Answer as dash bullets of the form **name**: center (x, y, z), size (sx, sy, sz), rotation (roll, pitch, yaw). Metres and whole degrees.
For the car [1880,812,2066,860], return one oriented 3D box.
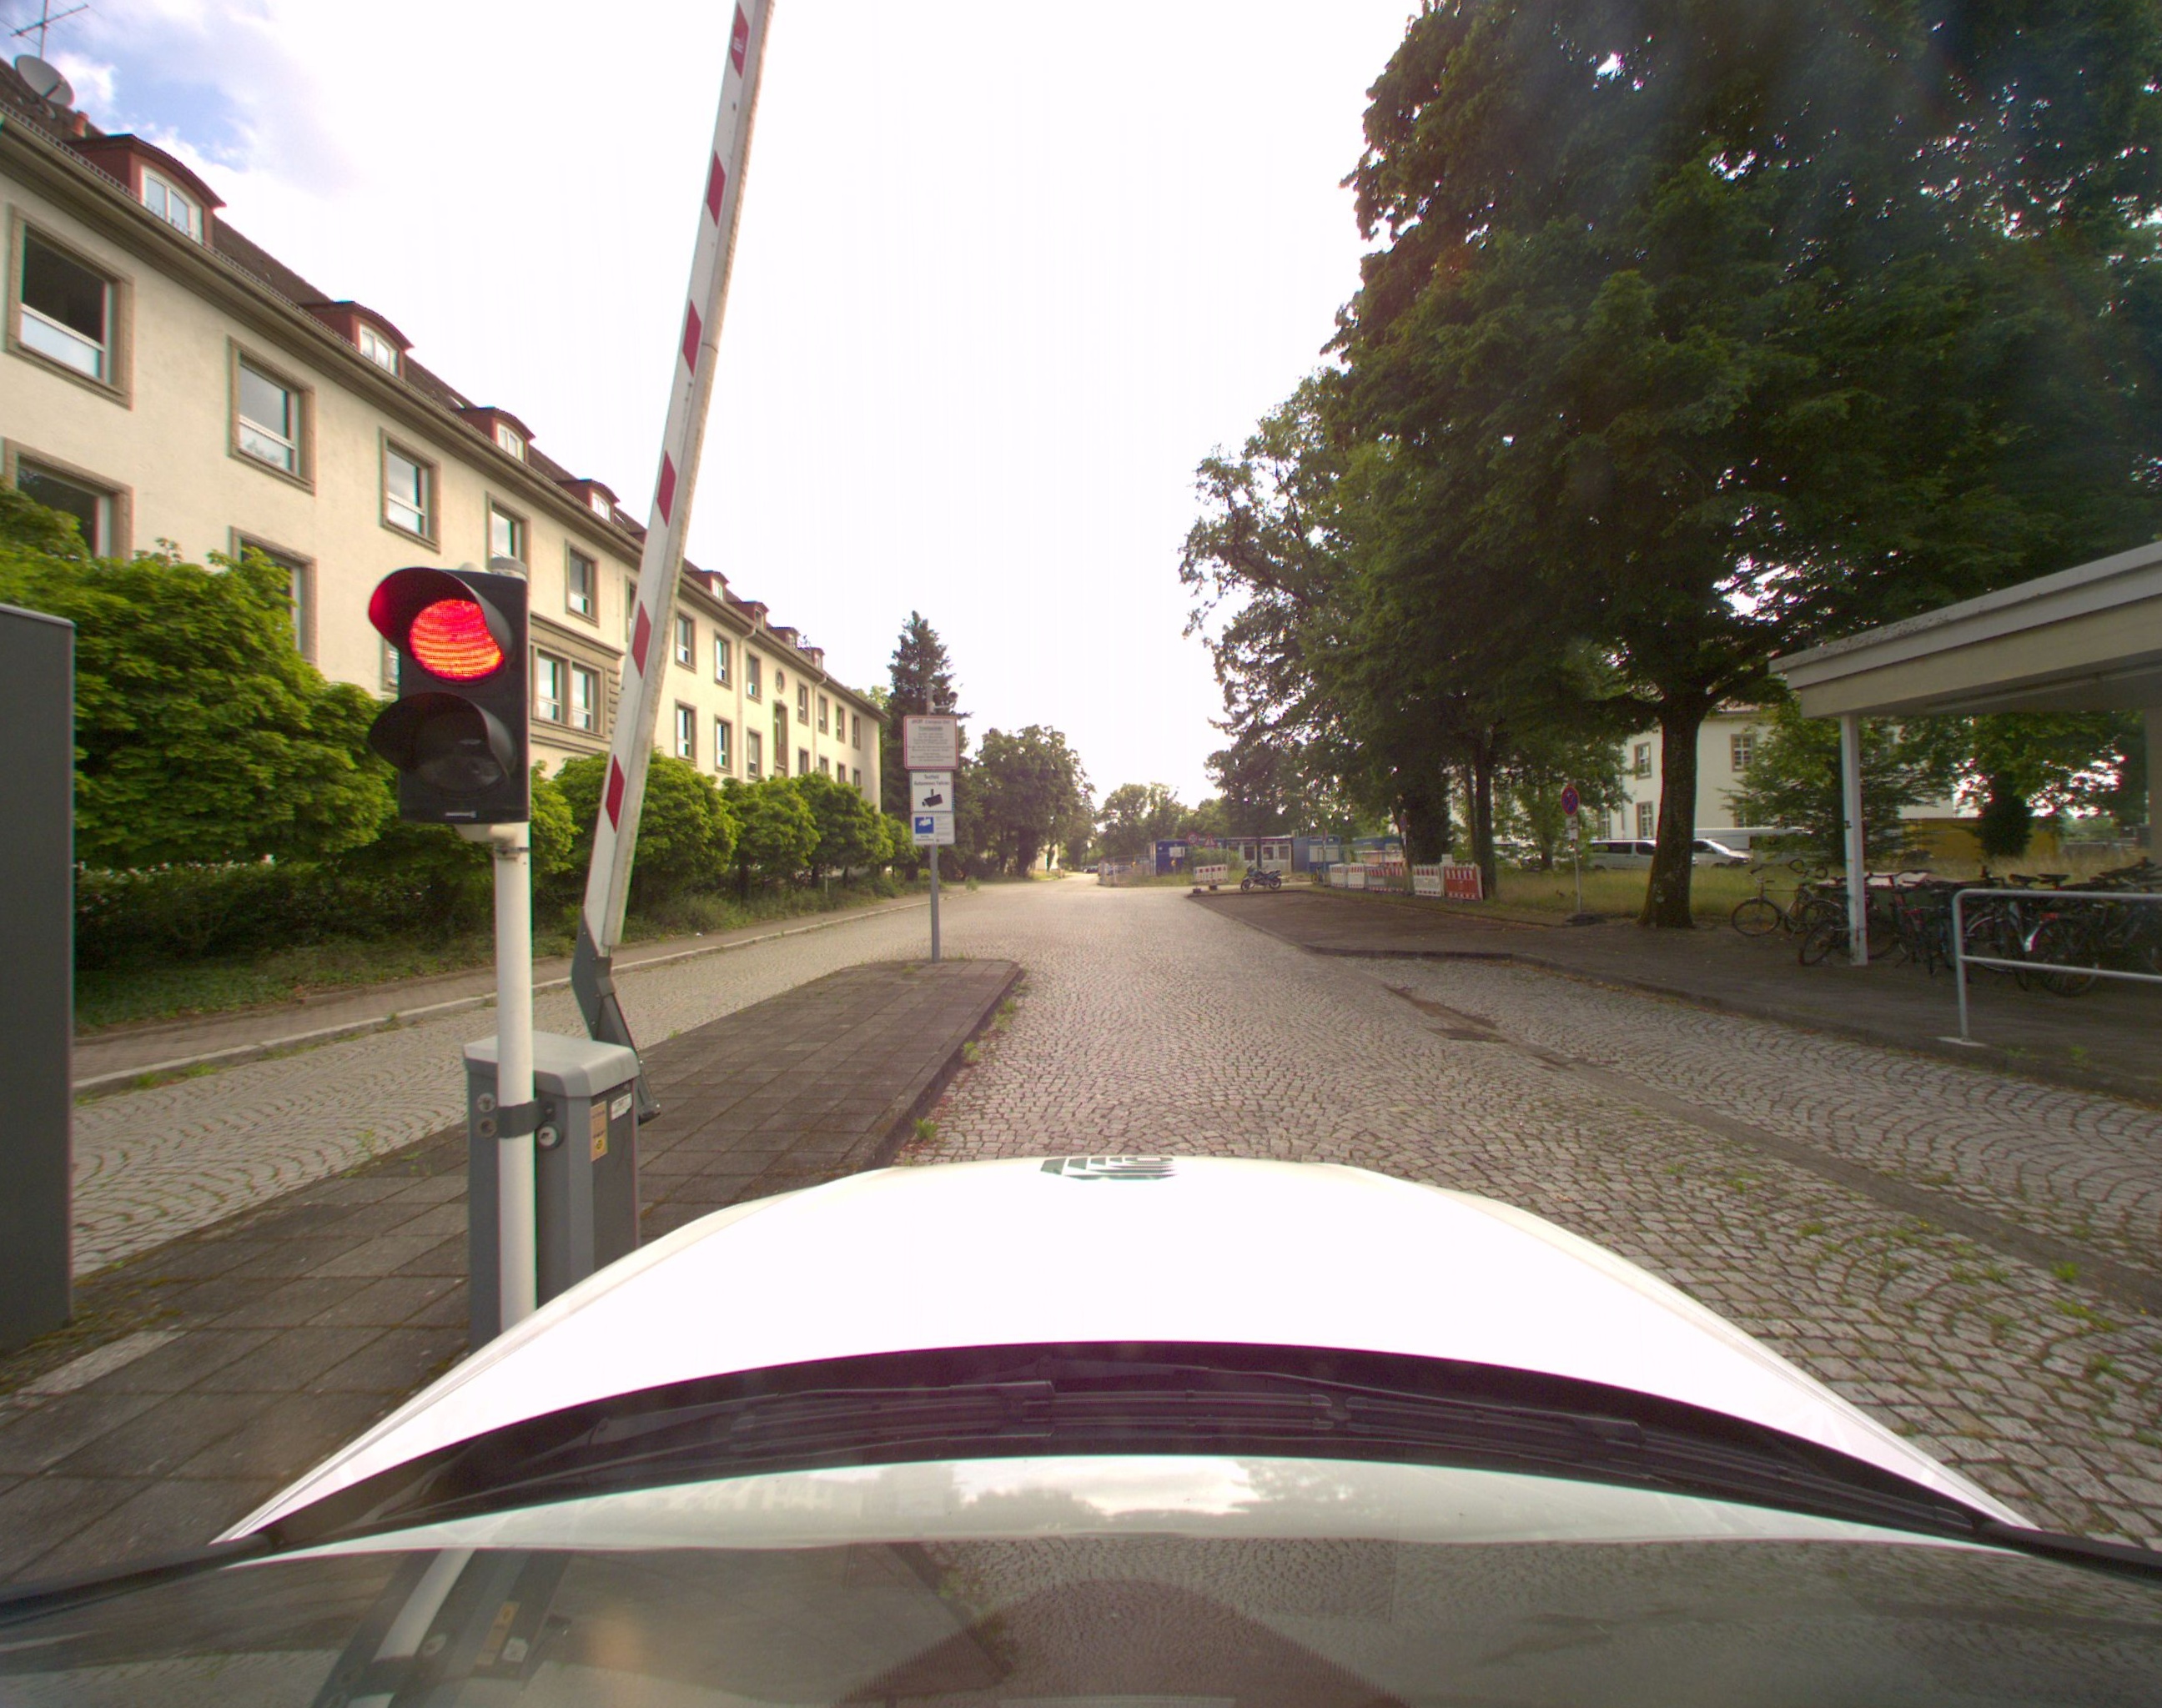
- **car**: center (41.522, -0.808, 38.039), size (6.118, 2.096, 2.213), rotation (0, -1, 2)

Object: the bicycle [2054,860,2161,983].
- **bicycle**: center (11.357, 0.662, 8.485), size (1.737, 1.165, 0.607), rotation (-3, -1, -4)

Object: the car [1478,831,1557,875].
- **car**: center (26.728, -0.006, 50.125), size (1.985, 2.556, 5.914), rotation (0, -1, 3)

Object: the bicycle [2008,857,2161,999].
- **bicycle**: center (9.666, 0.664, 7.669), size (1.631, 1.190, 0.471), rotation (-3, -1, -13)

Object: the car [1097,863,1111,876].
- **car**: center (3.682, 2.501, 131.014), size (1.987, 2.014, 4.090), rotation (-1, -1, 0)

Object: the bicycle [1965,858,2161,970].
- **bicycle**: center (11.514, 0.681, 9.512), size (1.737, 1.165, 0.607), rotation (-3, -1, -4)

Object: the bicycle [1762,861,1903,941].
- **bicycle**: center (11.481, 0.687, 12.519), size (0.595, 1.117, 1.635), rotation (-3, -1, 0)

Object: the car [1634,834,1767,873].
- **car**: center (30.457, 0.037, 40.231), size (2.003, 1.825, 4.833), rotation (1, -1, -26)

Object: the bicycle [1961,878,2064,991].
- **bicycle**: center (9.492, 0.782, 8.284), size (1.640, 0.976, 0.319), rotation (-3, -1, -29)

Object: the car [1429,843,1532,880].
- **car**: center (22.391, 0.385, 45.756), size (4.840, 1.921, 1.907), rotation (-1, 0, 2)

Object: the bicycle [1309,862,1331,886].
- **bicycle**: center (12.118, 0.977, 41.289), size (0.639, 1.169, 1.906), rotation (-2, -1, 3)

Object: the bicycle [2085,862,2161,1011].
- **bicycle**: center (9.699, 0.672, 7.116), size (1.631, 1.190, 0.418), rotation (-3, -1, -12)

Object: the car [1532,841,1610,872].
- **car**: center (29.631, 0.186, 49.453), size (1.985, 1.825, 4.878), rotation (0, -1, 3)

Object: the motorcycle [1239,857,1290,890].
- **motorcycle**: center (8.983, 0.951, 39.839), size (2.272, 1.485, 0.756), rotation (-2, -1, -4)

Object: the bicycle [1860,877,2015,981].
- **bicycle**: center (9.569, 0.793, 9.089), size (1.751, 0.976, 0.751), rotation (-3, -1, -29)

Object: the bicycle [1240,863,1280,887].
- **bicycle**: center (9.297, 1.107, 42.277), size (1.882, 1.197, 0.659), rotation (-2, -1, 20)

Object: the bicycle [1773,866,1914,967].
- **bicycle**: center (9.334, 0.747, 9.970), size (1.678, 1.108, 0.337), rotation (-3, -1, -13)

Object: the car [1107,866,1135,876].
- **car**: center (6.706, 2.860, 136.743), size (4.376, 1.510, 2.005), rotation (0, -1, 9)

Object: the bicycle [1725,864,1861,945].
- **bicycle**: center (10.856, 0.735, 12.494), size (0.595, 1.117, 1.635), rotation (-3, -1, 0)

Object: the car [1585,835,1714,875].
- **car**: center (27.688, 0.091, 39.871), size (2.003, 1.825, 4.833), rotation (1, -1, -26)

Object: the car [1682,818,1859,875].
- **car**: center (33.704, -0.275, 40.127), size (2.005, 2.578, 6.363), rotation (1, -1, -28)
